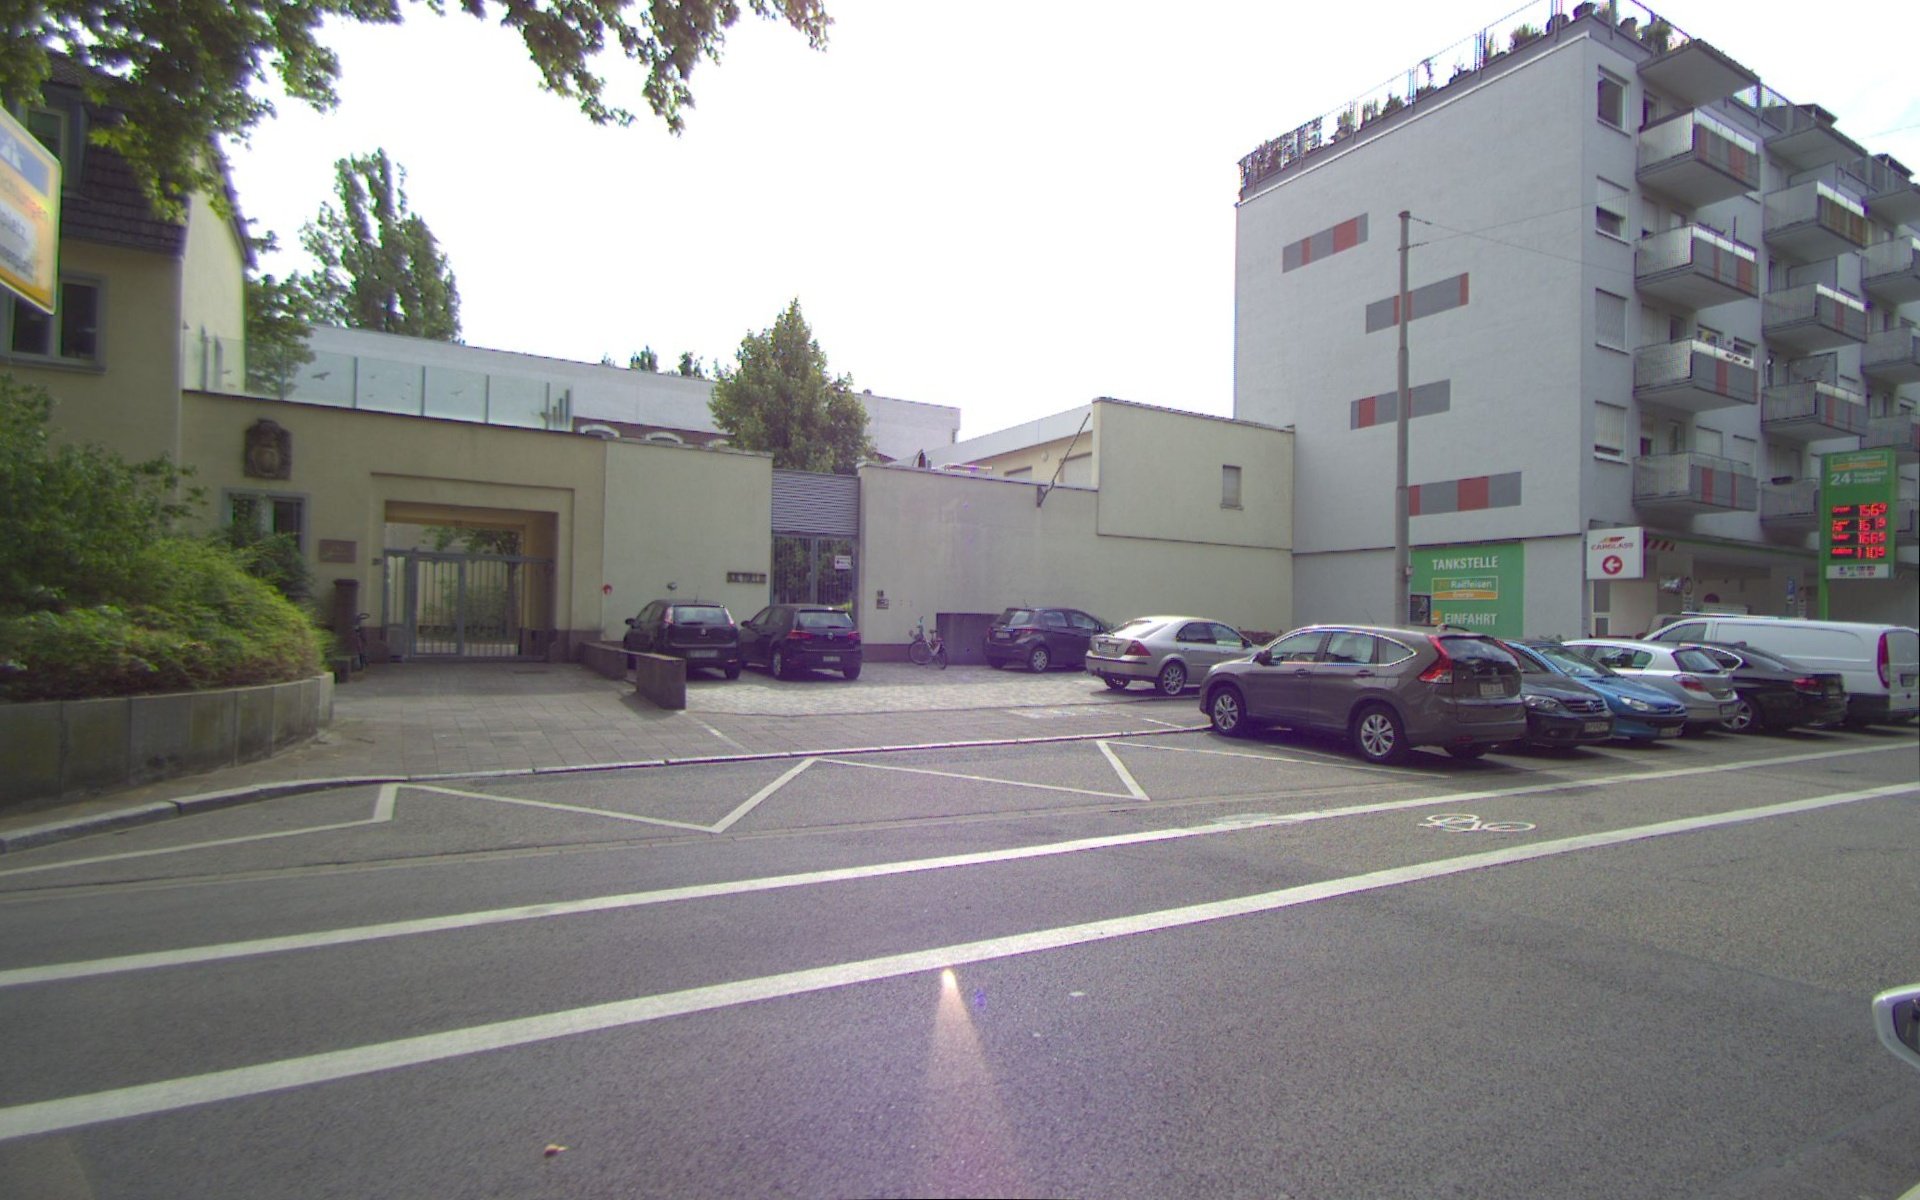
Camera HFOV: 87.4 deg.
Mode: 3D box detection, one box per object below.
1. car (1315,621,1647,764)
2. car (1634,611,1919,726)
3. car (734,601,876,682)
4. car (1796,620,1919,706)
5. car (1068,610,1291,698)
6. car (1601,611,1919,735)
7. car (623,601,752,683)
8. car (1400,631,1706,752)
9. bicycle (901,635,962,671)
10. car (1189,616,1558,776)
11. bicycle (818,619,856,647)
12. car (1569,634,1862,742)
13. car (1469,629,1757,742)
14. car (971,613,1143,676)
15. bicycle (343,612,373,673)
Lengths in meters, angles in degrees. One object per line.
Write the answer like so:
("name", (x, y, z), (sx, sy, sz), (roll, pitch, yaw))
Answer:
("car", (7.249, 1.183, 14.400), (1.731, 1.590, 3.925), (1, 1, -27))
("car", (17.117, 1.295, 20.753), (1.977, 1.928, 4.892), (2, 1, -30))
("car", (-3.344, 0.801, 21.062), (1.892, 1.485, 3.974), (1, 0, -25))
("car", (22.793, 1.519, 23.746), (1.803, 1.895, 4.285), (2, 0, -31))
("car", (4.337, 1.020, 19.713), (4.184, 1.539, 1.749), (2, 0, -30))
("car", (15.011, 1.251, 18.933), (2.022, 1.903, 4.506), (2, 0, -29))
("car", (-5.611, 0.762, 20.346), (1.865, 1.439, 3.974), (0, 1, -25))
("car", (8.953, 1.295, 15.463), (1.733, 1.446, 3.663), (1, 1, -30))
("bicycle", (-0.684, 1.220, 23.435), (0.485, 0.752, 1.973), (1, -1, -32))
("car", (5.198, 1.083, 13.258), (1.944, 1.627, 4.238), (0, 1, -29))
("bicycle", (-3.427, 0.907, 27.845), (0.483, 0.752, 1.978), (1, -1, -24))
("car", (12.921, 1.416, 17.408), (1.733, 1.464, 3.664), (1, 1, -30))
("car", (10.810, 1.327, 16.885), (1.733, 1.505, 3.663), (1, 1, -31))
("car", (2.372, 1.012, 24.196), (3.961, 1.350, 1.800), (0, 1, -36))
("bicycle", (-11.340, 0.768, 18.937), (0.394, 1.058, 1.791), (0, 1, -28))
